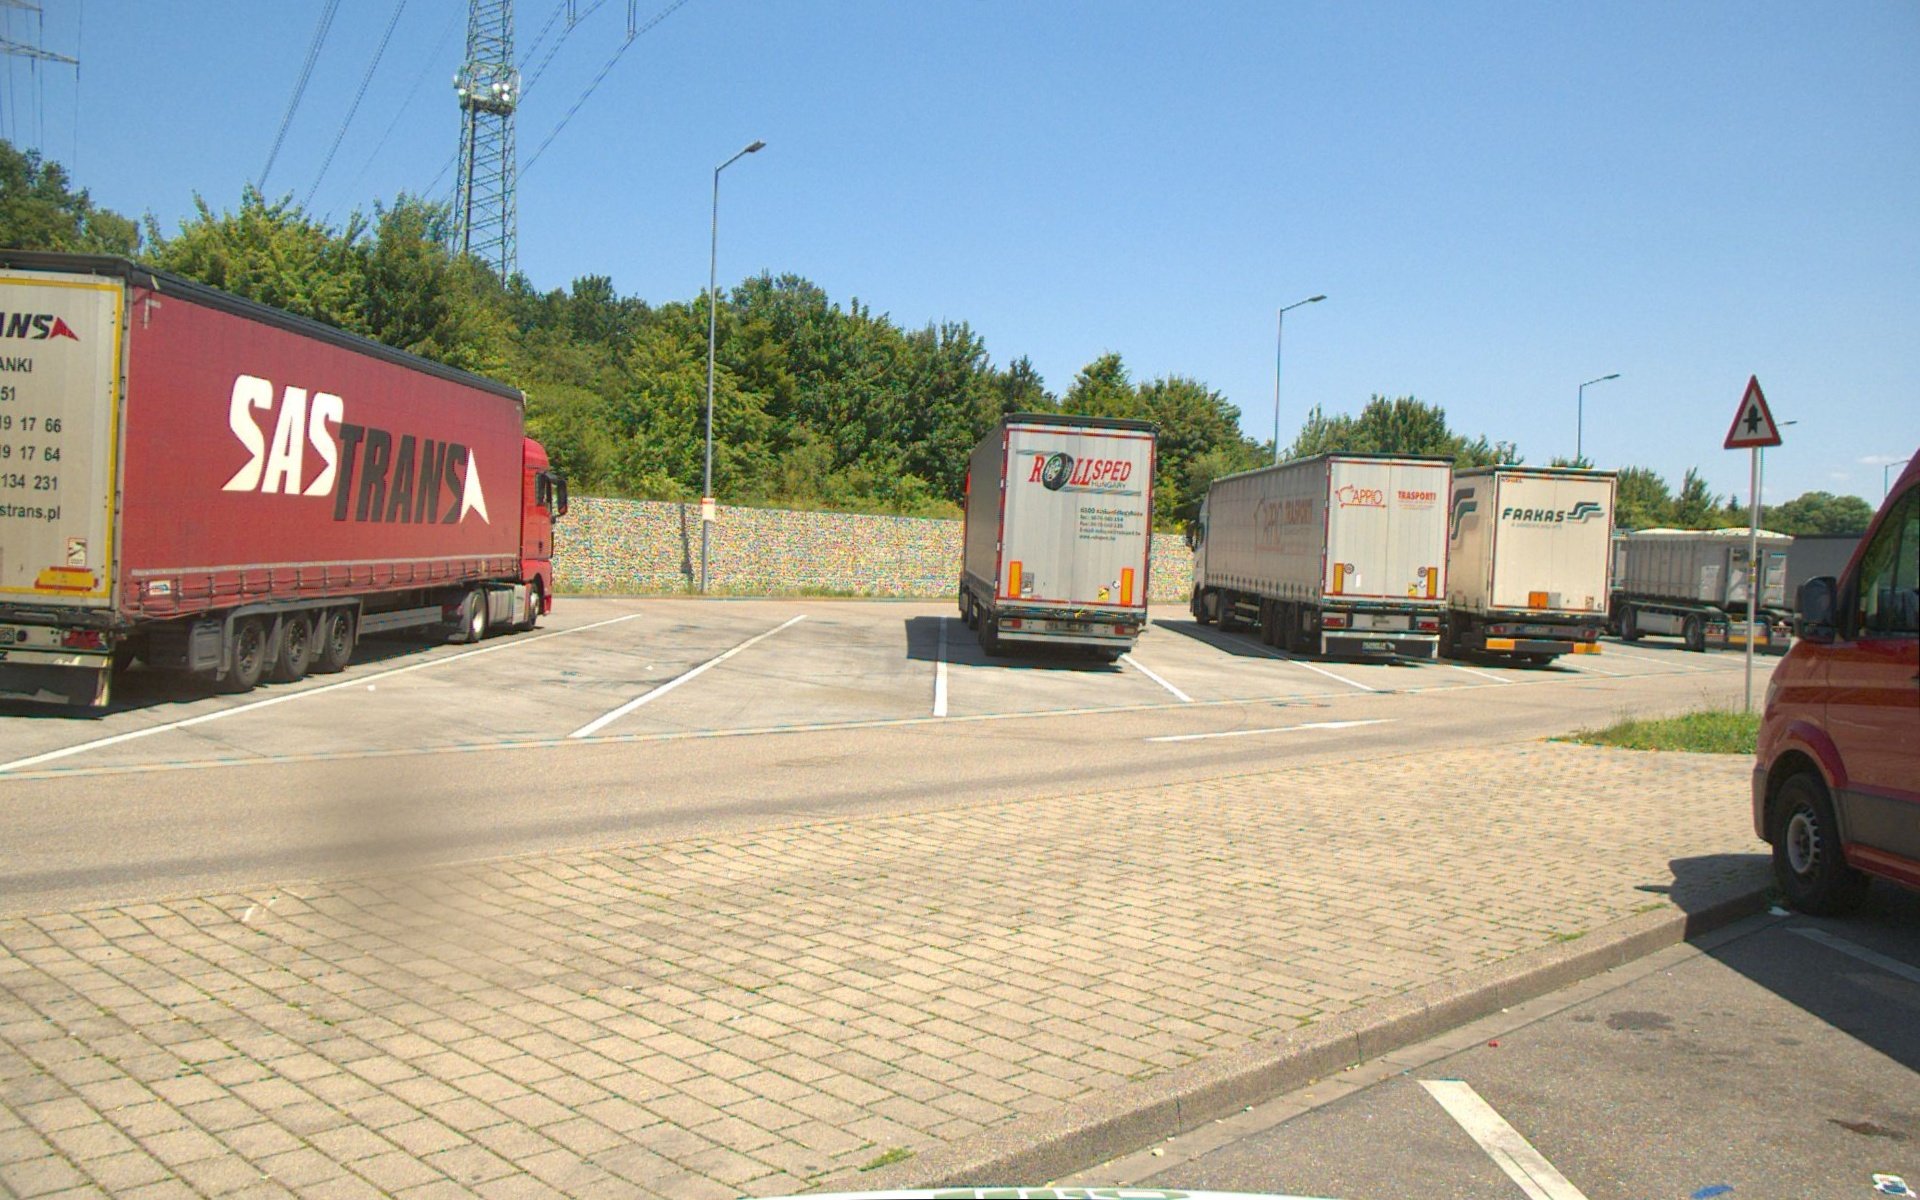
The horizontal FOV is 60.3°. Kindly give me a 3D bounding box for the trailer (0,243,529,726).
[{"bbox_3d":[-8.681,-1.273,21.233,2.764,4.141,13.763,2,2,-1],"label":"trailer"}]

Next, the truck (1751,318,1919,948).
[{"bbox_3d":[5.004,0.153,5.500,1.969,2.697,6.457,1,0,3],"label":"truck"}]

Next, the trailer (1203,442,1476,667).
[{"bbox_3d":[8.259,-1.106,38.484,2.800,4.180,13.762,2,2,-1],"label":"trailer"}]

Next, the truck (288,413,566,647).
[{"bbox_3d":[-8.790,-1.165,28.049,2.755,3.421,5.974,2,2,-1],"label":"truck"}]

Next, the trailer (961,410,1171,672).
[{"bbox_3d":[1.685,-1.179,33.131,2.800,4.040,13.761,2,2,-2],"label":"trailer"}]

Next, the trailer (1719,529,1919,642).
[{"bbox_3d":[34.797,-0.716,65.428,2.800,3.972,13.762,2,2,-1],"label":"trailer"}]

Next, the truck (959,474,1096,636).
[{"bbox_3d":[1.484,-1.095,39.328,2.808,3.421,5.974,2,2,-1],"label":"truck"}]

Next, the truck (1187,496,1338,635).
[{"bbox_3d":[8.136,-0.989,45.247,2.808,3.421,5.974,2,2,-1],"label":"truck"}]

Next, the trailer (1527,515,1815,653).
[{"bbox_3d":[21.845,-0.686,52.229,2.800,3.662,13.762,2,2,-1],"label":"trailer"}]

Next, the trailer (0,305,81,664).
[{"bbox_3d":[-12.477,-1.261,15.776,2.651,4.173,10.389,2,2,-1],"label":"trailer"}]

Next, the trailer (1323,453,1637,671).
[{"bbox_3d":[11.778,-0.995,39.549,2.800,4.180,13.762,2,2,-1],"label":"trailer"}]

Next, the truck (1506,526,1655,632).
[{"bbox_3d":[21.746,-0.801,58.324,2.808,3.421,5.974,2,2,-1],"label":"truck"}]
